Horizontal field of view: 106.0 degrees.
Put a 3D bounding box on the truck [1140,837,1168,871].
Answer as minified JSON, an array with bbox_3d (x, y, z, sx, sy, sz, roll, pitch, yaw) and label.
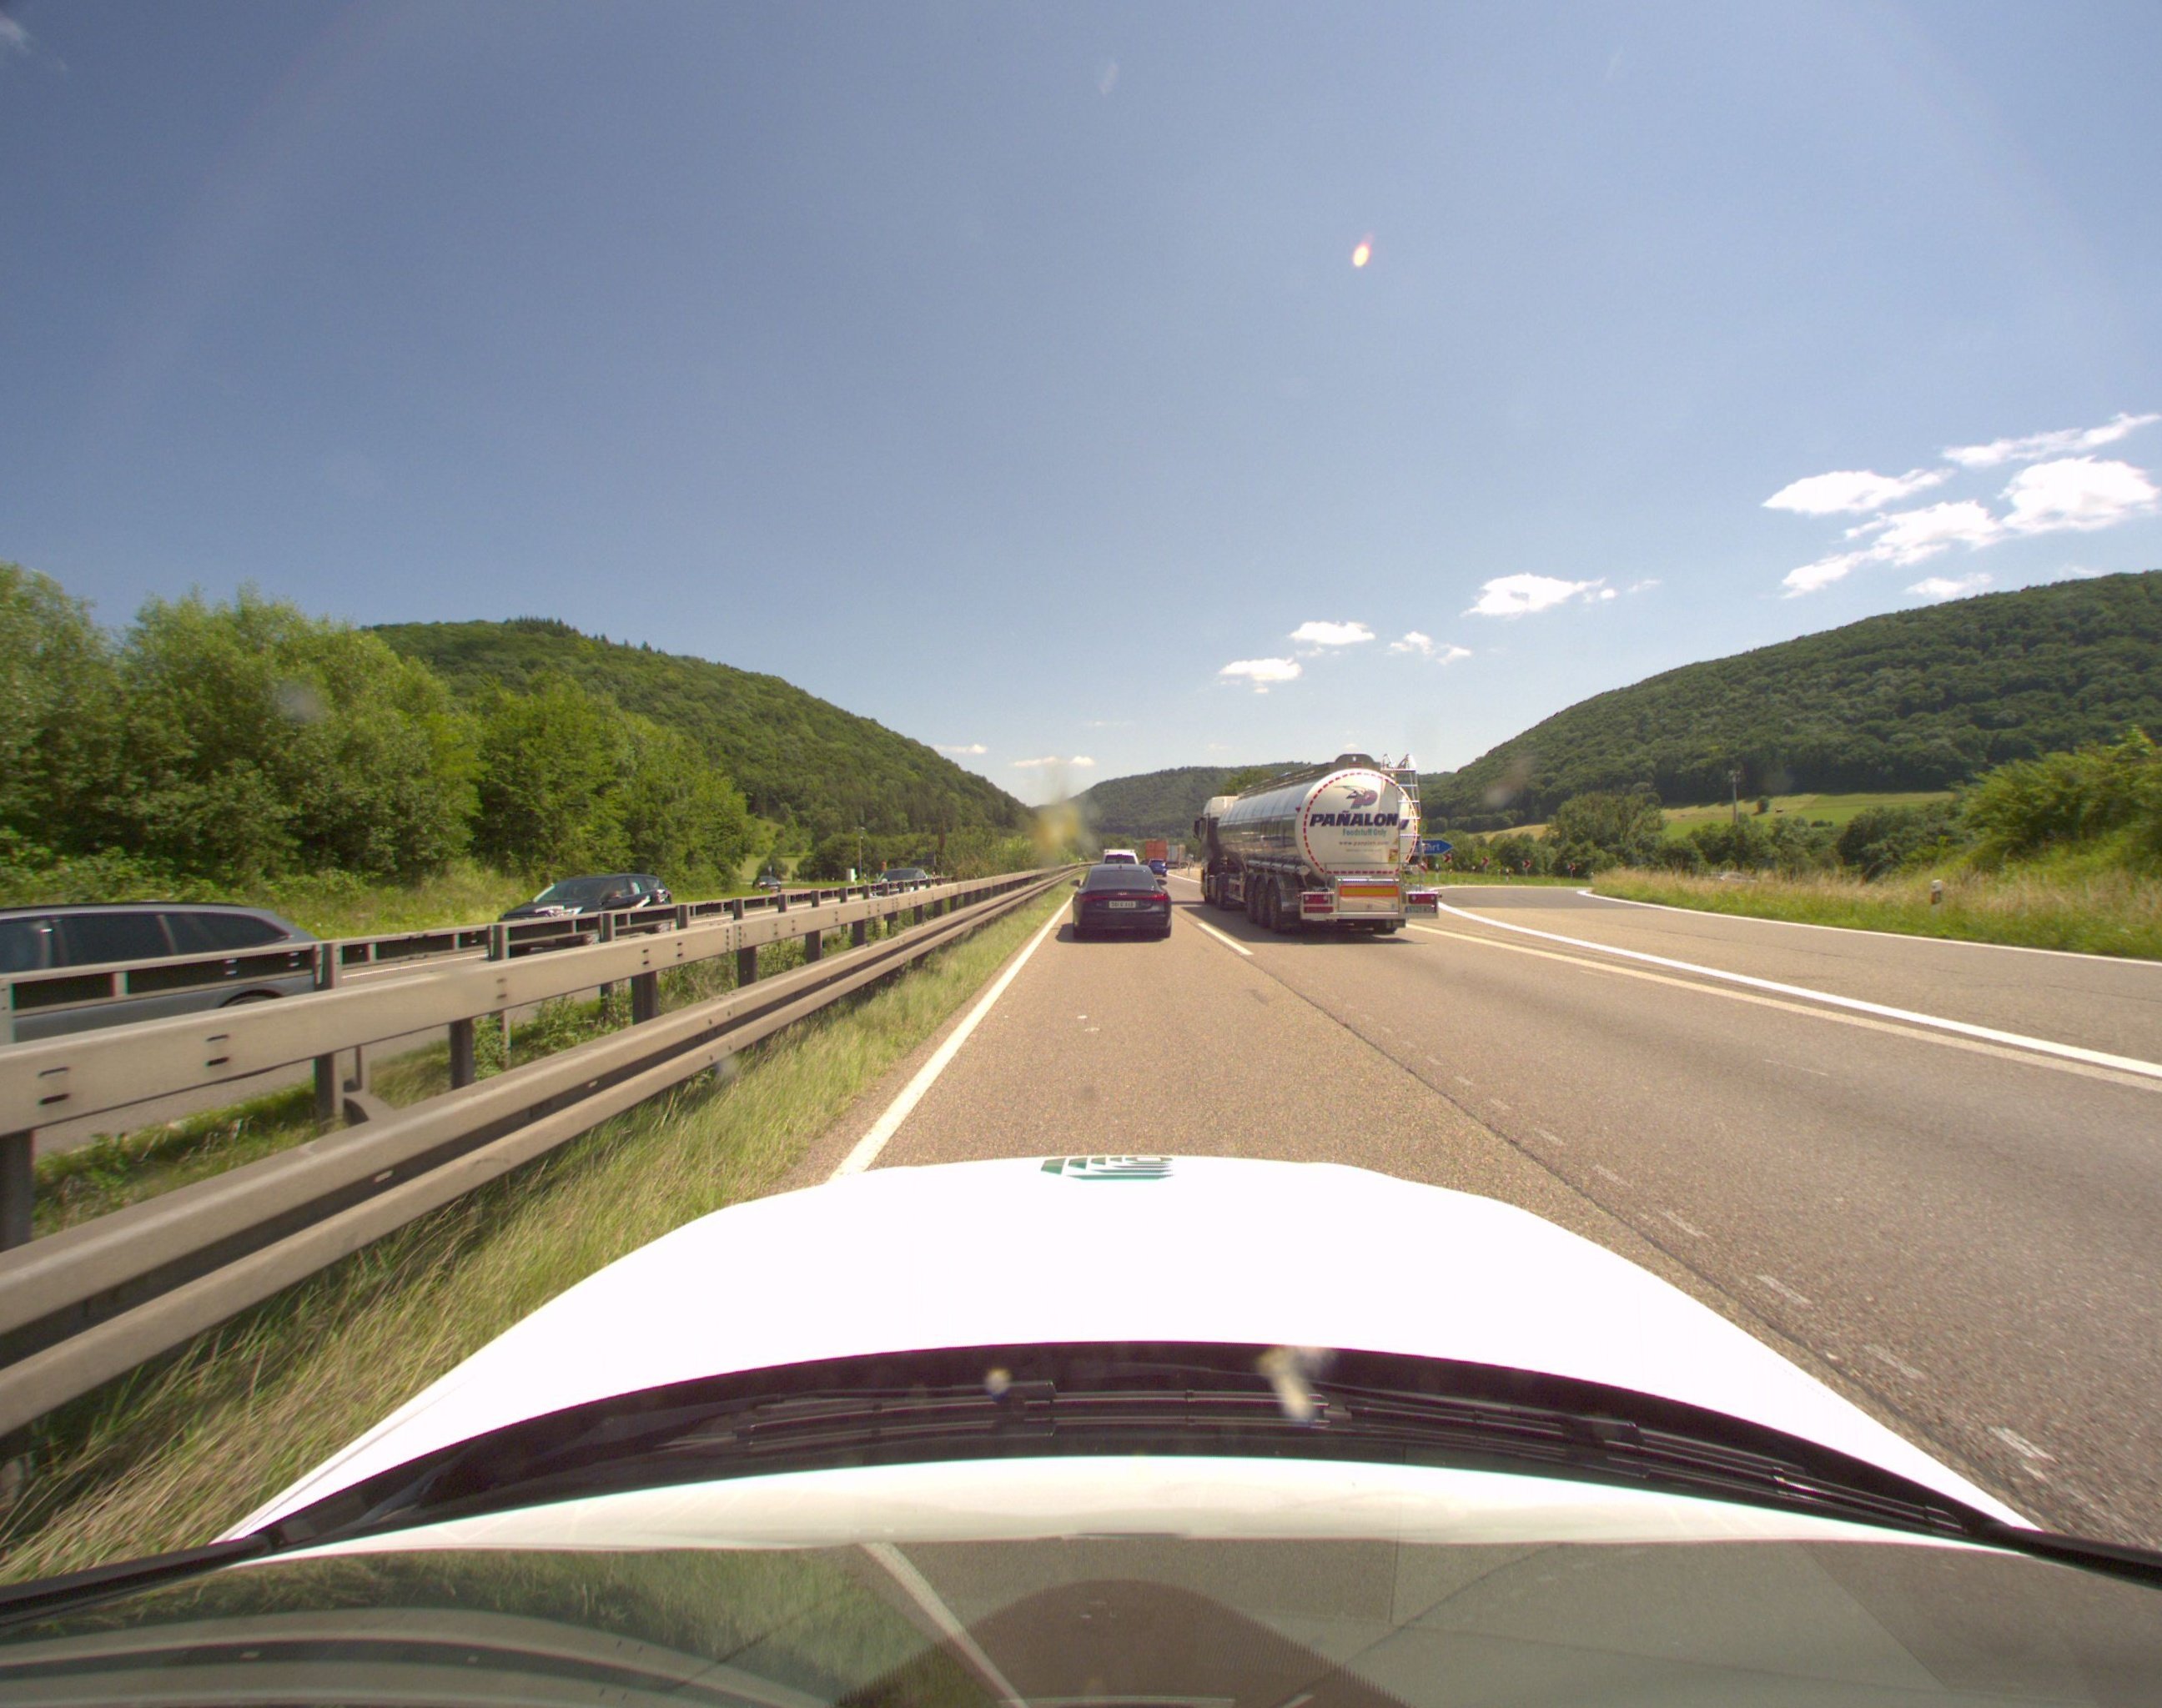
[{"bbox_3d":[9.241,0.054,104.138,2.806,4.003,14.965,-1,0,3],"label":"truck"}]

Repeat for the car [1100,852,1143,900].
[{"bbox_3d":[1.610,0.850,33.150,1.570,1.833,4.001,-1,0,2],"label":"car"}]

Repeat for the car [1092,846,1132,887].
[{"bbox_3d":[1.647,0.648,43.794,1.986,2.014,4.001,-1,0,2],"label":"car"}]

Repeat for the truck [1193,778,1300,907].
[{"bbox_3d":[5.265,-0.336,26.776,2.502,3.758,5.247,-1,0,1],"label":"truck"}]

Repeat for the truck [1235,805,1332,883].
[{"bbox_3d":[12.024,-0.492,50.099,2.806,4.003,14.965,-1,0,3],"label":"truck"}]

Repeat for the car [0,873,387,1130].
[{"bbox_3d":[-7.558,0.951,5.270,1.986,1.519,4.679,-2,-1,2],"label":"car"}]

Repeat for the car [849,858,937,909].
[{"bbox_3d":[-6.787,1.011,29.920,1.986,1.614,4.275,-4,-1,2],"label":"car"}]

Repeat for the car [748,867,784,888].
[{"bbox_3d":[-28.706,2.143,74.112,1.823,1.838,3.953,-1,-1,-40],"label":"car"}]

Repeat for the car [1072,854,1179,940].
[{"bbox_3d":[0.774,0.780,16.674,1.844,1.488,4.080,-1,0,-2],"label":"car"}]

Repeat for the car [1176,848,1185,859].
[{"bbox_3d":[26.136,-0.058,214.462,1.985,2.935,4.903,-1,0,4],"label":"car"}]

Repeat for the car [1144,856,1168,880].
[{"bbox_3d":[6.869,1.253,74.712,1.985,2.002,4.003,-2,0,3],"label":"car"}]

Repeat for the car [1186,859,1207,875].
[{"bbox_3d":[11.333,1.271,80.122,1.740,1.530,4.004,-2,-1,4],"label":"car"}]

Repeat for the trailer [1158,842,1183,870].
[{"bbox_3d":[14.567,0.312,132.929,3.004,4.382,10.988,-1,0,1],"label":"trailer"}]

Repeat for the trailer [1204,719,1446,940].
[{"bbox_3d":[5.087,-0.388,19.940,2.529,3.735,11.894,-1,0,1],"label":"trailer"}]

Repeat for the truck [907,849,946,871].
[{"bbox_3d":[-20.846,0.797,110.467,3.570,2.695,8.445,-2,-1,-1],"label":"truck"}]

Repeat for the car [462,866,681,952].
[{"bbox_3d":[-11.190,1.124,18.378,1.915,1.621,4.563,-2,-1,2],"label":"car"}]
